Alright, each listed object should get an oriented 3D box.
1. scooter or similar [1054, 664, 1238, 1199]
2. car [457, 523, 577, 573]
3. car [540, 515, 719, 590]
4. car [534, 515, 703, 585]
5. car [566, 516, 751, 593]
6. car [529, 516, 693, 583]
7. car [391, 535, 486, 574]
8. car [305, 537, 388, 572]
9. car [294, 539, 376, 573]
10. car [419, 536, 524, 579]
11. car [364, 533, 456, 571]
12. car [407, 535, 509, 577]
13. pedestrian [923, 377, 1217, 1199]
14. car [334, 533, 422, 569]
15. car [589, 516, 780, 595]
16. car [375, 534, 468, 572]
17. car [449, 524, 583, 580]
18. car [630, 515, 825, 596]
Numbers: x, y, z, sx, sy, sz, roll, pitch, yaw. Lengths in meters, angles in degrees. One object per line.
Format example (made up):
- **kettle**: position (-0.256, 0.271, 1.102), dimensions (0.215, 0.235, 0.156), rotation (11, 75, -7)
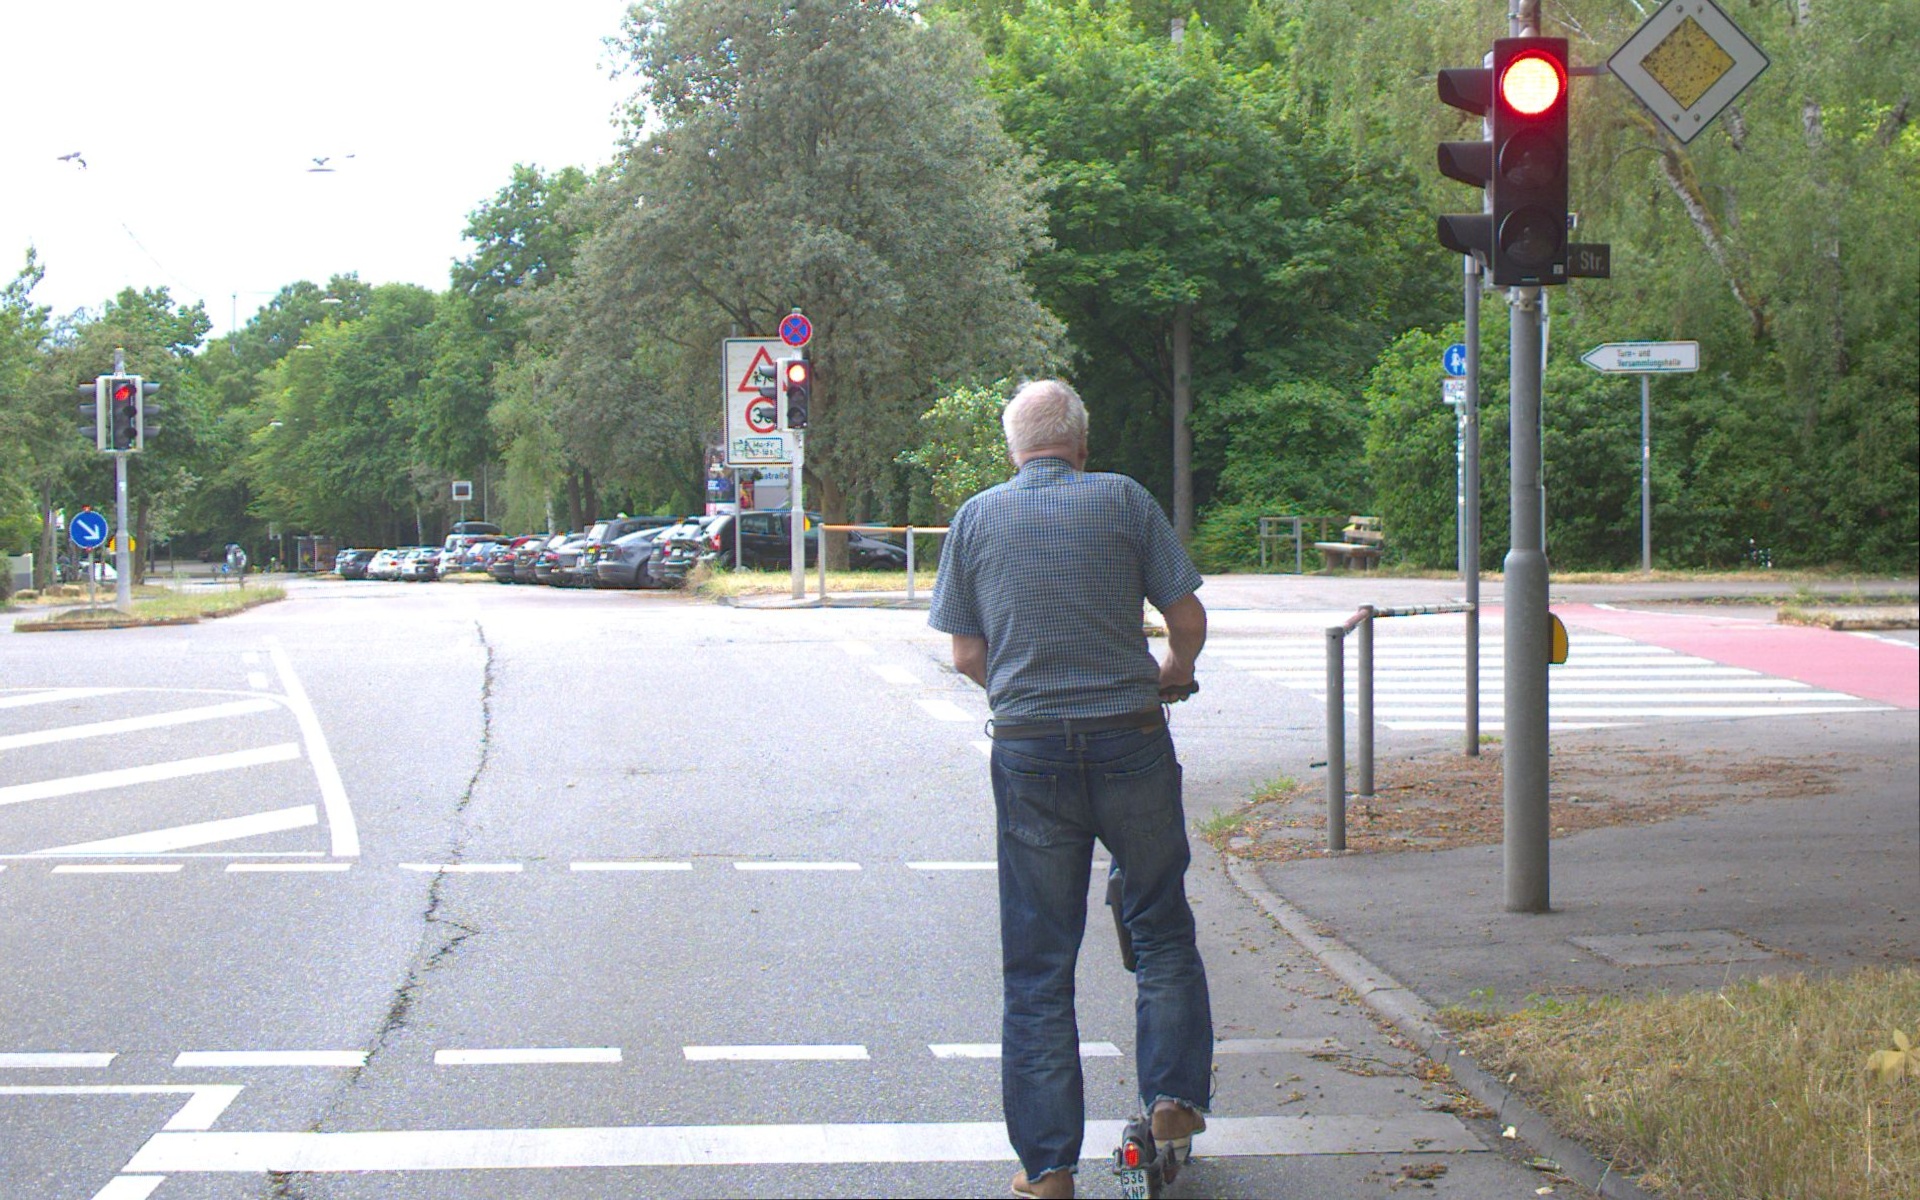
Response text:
- **scooter or similar**: position (0.416, 0.753, 7.400), dimensions (0.282, 1.174, 1.177), rotation (-1, 1, 8)
- **car**: position (-15.709, -1.844, 121.892), dimensions (3.840, 1.605, 1.729), rotation (-3, 2, -23)
- **car**: position (-7.819, -1.136, 81.338), dimensions (3.840, 1.605, 1.729), rotation (-3, 2, -23)
- **car**: position (-8.606, -1.271, 86.650), dimensions (3.840, 1.605, 1.729), rotation (-3, 2, -23)
- **car**: position (-6.956, -1.057, 79.303), dimensions (3.840, 1.605, 1.729), rotation (-3, 2, -23)
- **car**: position (-9.046, -1.317, 89.062), dimensions (3.840, 1.605, 1.729), rotation (-3, 2, -23)
- **car**: position (-23.382, -2.047, 154.072), dimensions (3.840, 1.605, 1.729), rotation (-3, 2, -23)
- **car**: position (-31.337, -2.329, 175.635), dimensions (3.840, 1.605, 1.729), rotation (-3, 2, -23)
- **car**: position (-32.359, -2.301, 177.973), dimensions (3.840, 1.605, 1.729), rotation (-3, 2, -23)
- **car**: position (-19.755, -1.739, 139.094), dimensions (3.840, 1.605, 1.729), rotation (-3, 2, -23)
- **car**: position (-25.399, -2.206, 158.774), dimensions (3.840, 1.605, 1.729), rotation (-3, 2, -23)
- **car**: position (-20.860, -1.820, 142.768), dimensions (3.840, 1.605, 1.729), rotation (-3, 2, -23)
- **pedestrian**: position (0.251, 0.427, 7.570), dimensions (0.573, 1.807, 0.420), rotation (-1, 1, 8)
- **car**: position (-28.070, -2.376, 165.839), dimensions (3.840, 1.605, 1.729), rotation (-3, 2, -23)
- **car**: position (-6.154, -1.004, 76.762), dimensions (3.841, 1.605, 1.728), rotation (-3, 2, -24)
- **car**: position (-24.457, -2.146, 156.204), dimensions (3.840, 1.605, 1.729), rotation (-3, 2, -23)
- **car**: position (-14.061, -1.530, 108.926), dimensions (3.840, 1.605, 1.729), rotation (-3, 2, -23)
- **car**: position (-5.053, -0.973, 74.792), dimensions (3.840, 1.605, 1.729), rotation (-2, 2, -21)
